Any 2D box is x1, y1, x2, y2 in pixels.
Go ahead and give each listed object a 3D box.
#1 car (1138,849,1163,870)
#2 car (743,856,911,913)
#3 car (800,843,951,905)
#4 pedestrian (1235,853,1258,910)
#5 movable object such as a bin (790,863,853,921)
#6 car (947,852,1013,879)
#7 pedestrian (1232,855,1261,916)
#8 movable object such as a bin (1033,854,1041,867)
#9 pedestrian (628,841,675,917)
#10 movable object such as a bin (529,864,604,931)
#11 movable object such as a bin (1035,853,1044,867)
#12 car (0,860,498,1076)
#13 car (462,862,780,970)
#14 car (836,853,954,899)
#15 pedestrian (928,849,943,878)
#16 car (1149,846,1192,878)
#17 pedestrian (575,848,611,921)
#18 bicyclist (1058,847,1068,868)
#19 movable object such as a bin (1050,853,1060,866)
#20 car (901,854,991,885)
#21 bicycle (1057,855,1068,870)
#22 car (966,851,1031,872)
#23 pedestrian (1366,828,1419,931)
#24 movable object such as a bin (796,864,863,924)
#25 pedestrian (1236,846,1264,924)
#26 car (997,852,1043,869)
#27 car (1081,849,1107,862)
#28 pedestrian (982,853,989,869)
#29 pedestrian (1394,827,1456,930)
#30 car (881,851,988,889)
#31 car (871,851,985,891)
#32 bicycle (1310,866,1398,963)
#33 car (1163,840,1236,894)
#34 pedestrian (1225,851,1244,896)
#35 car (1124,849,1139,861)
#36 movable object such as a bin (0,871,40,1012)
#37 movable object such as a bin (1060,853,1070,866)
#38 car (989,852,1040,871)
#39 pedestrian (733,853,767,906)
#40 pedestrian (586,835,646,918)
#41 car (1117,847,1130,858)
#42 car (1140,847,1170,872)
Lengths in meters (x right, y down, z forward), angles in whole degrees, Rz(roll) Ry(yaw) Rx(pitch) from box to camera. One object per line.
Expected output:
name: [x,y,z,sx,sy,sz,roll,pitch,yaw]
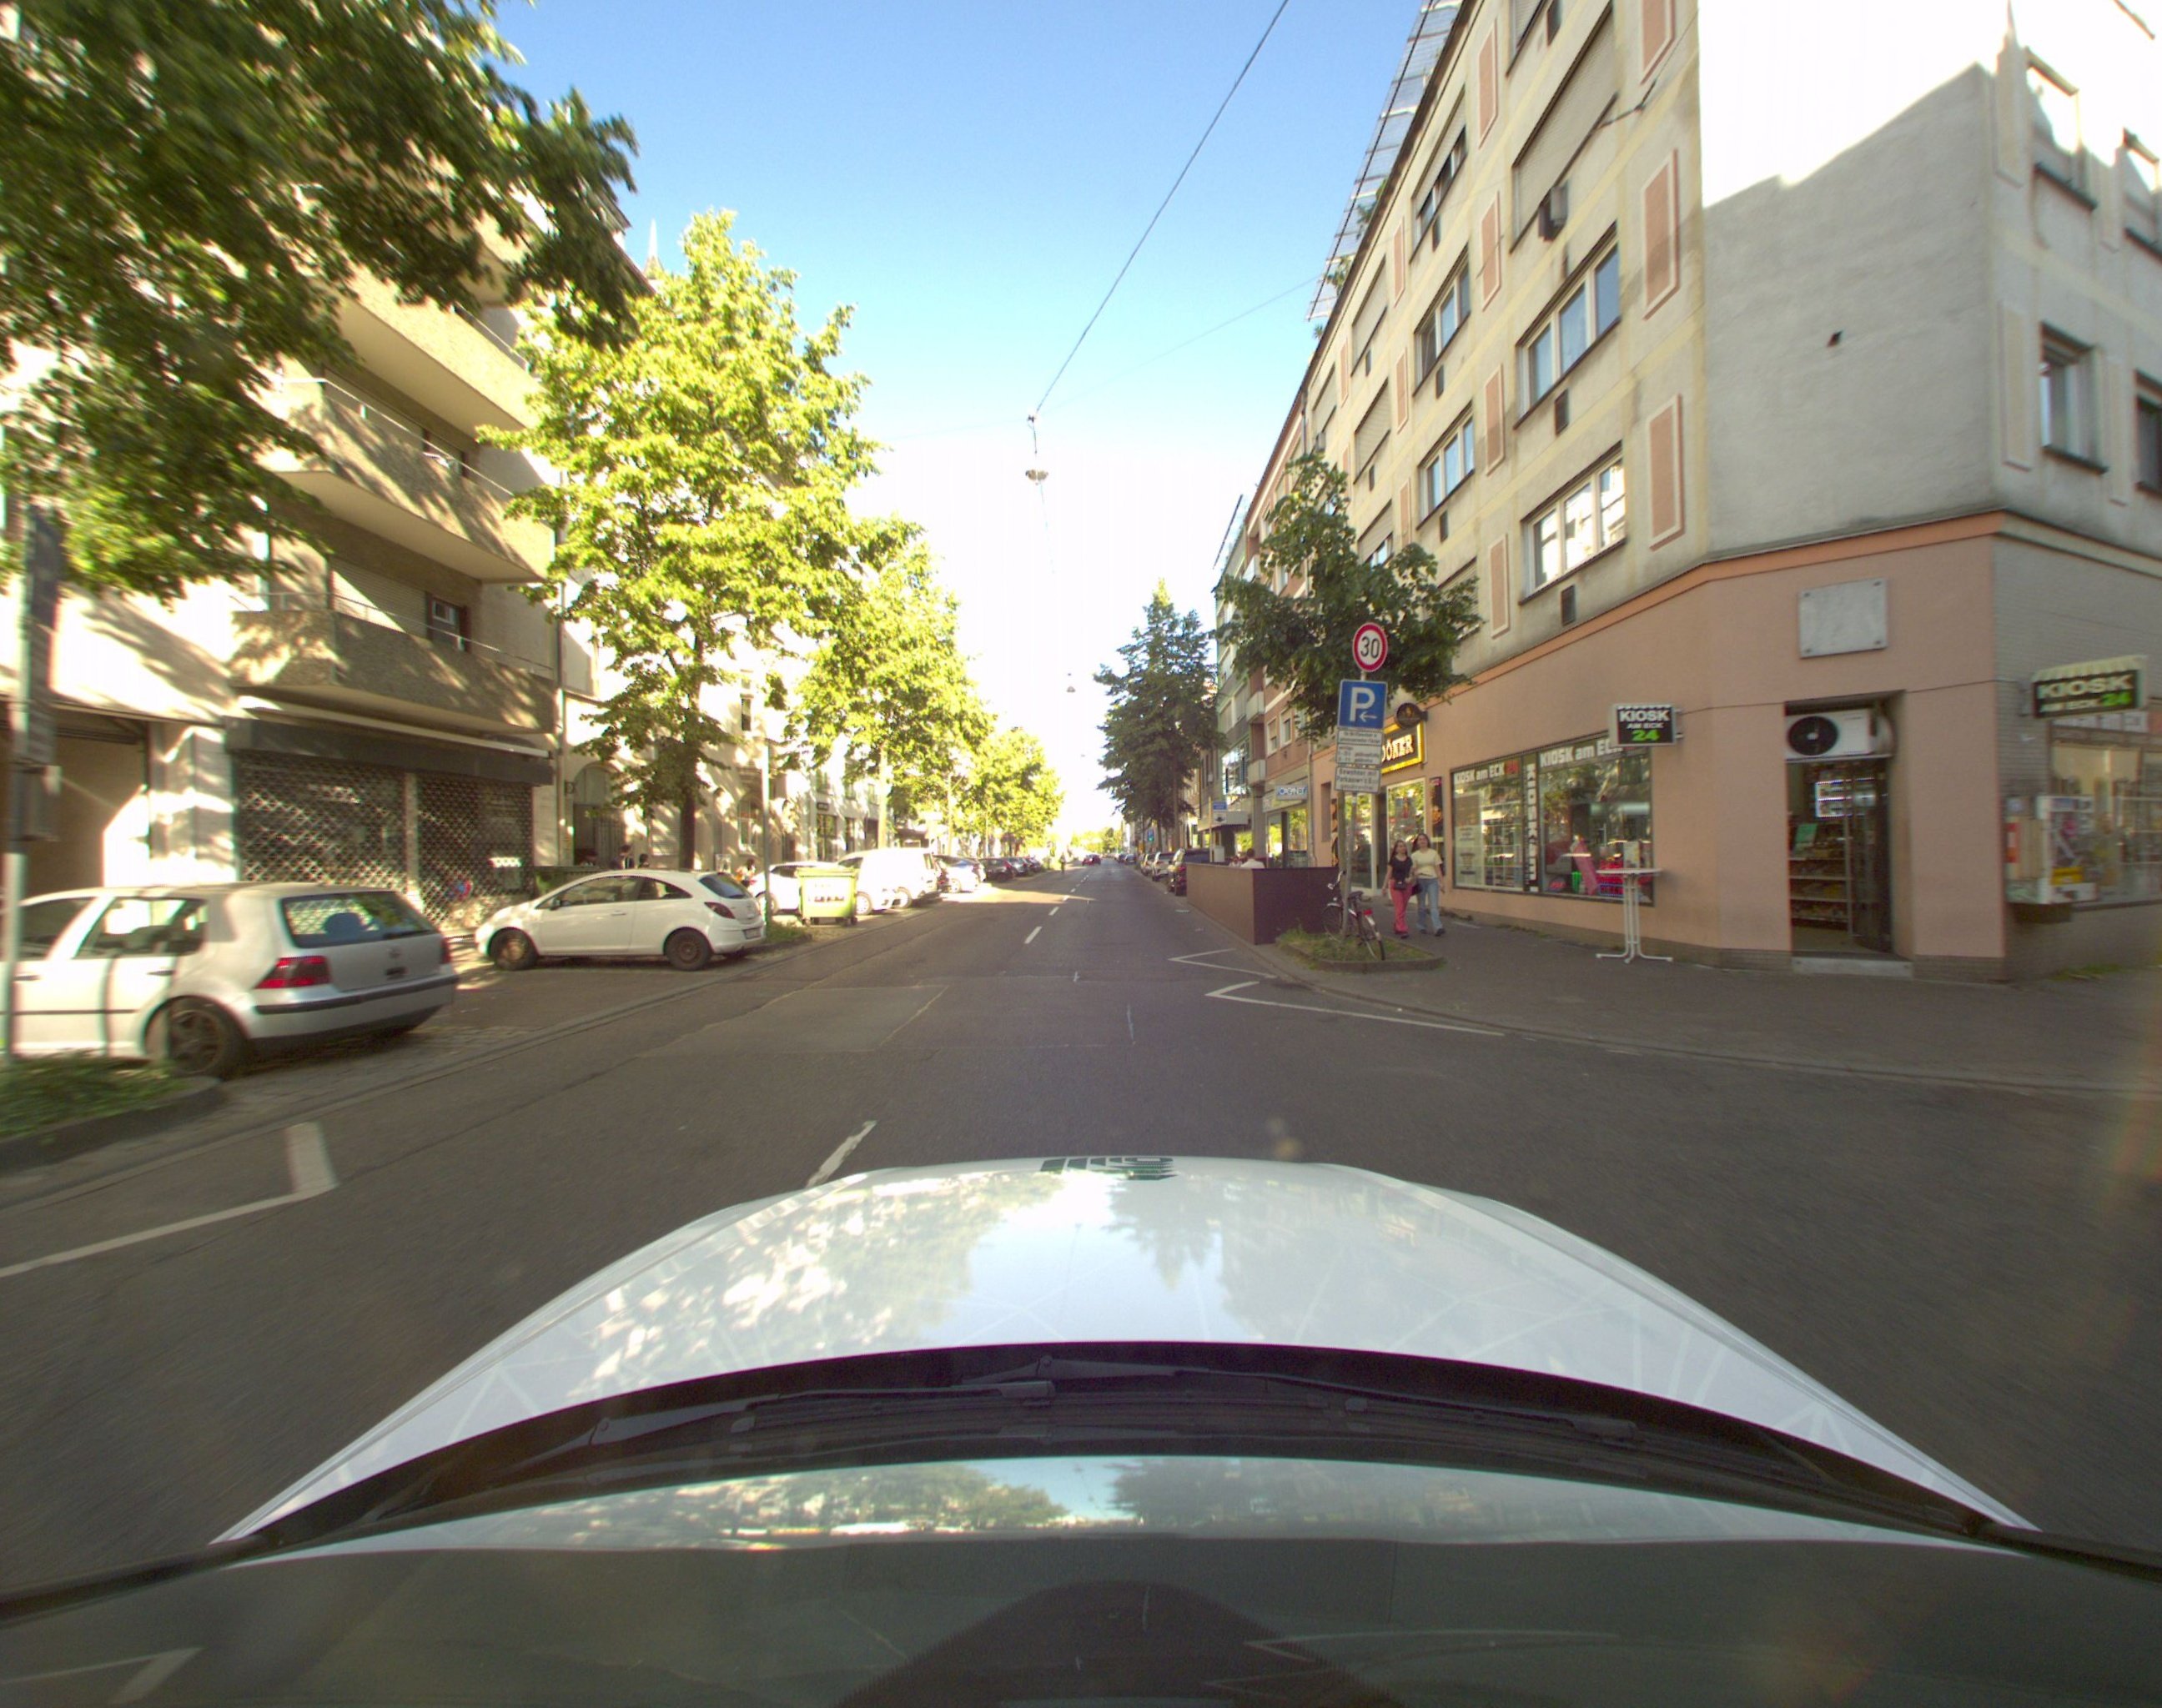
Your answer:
car: [5.236,0.407,61.780,1.608,1.528,3.061,-3,0,1]
car: [-6.889,0.805,22.379,3.964,1.464,1.888,0,0,2]
car: [-6.270,0.594,25.184,4.090,1.836,2.039,0,0,2]
pedestrian: [4.015,0.667,19.795,0.471,1.362,0.595,0,0,2]
movable object such as a bin: [-6.257,0.902,19.713,1.188,1.345,0.932,-1,0,0]
car: [-5.908,0.669,47.958,3.775,1.458,1.777,-1,0,-6]
pedestrian: [3.817,0.725,18.811,0.550,1.379,0.595,0,0,2]
movable object such as a bin: [-4.613,0.713,85.635,0.752,1.341,0.805,-2,0,0]
pedestrian: [-9.490,0.539,18.002,0.563,1.626,0.727,3,0,0]
movable object such as a bin: [-11.271,0.927,17.885,0.818,1.397,1.228,0,0,4]
movable object such as a bin: [-4.736,0.687,92.525,0.960,1.471,1.143,-1,0,0]
car: [-7.323,0.797,6.534,3.983,1.464,1.749,1,-1,1]
car: [-6.745,0.870,12.258,3.767,1.464,1.709,0,0,-2]
car: [-6.665,0.778,29.405,3.785,1.558,1.792,-1,0,2]
pedestrian: [-9.413,0.611,52.717,0.694,1.797,0.748,-1,0,13]
car: [4.733,0.402,43.566,1.876,1.527,4.235,-3,0,1]
pedestrian: [-11.386,0.700,19.005,0.431,1.672,0.639,0,0,4]
bicyclist: [-1.494,0.303,66.593,0.722,1.700,1.283,-1,0,2]
movable object such as a bin: [-2.989,0.622,92.481,1.038,1.471,1.143,-2,0,0]
car: [-6.804,0.755,41.270,4.234,1.458,1.979,-1,0,-2]
bicycle: [-1.481,0.720,66.683,0.722,1.169,2.198,-1,0,2]
car: [-5.899,0.537,58.788,4.478,1.458,1.790,0,0,0]
pedestrian: [5.138,0.406,13.462,0.512,1.645,0.748,-3,0,1]
movable object such as a bin: [-5.767,0.909,18.750,1.233,1.302,0.870,-1,0,0]
pedestrian: [3.372,0.618,16.264,0.471,1.529,0.462,0,0,2]
car: [-5.269,0.567,70.530,3.734,1.468,1.740,0,0,1]
car: [1.800,0.181,112.225,1.642,1.535,3.785,-3,0,37]
pedestrian: [-8.945,0.649,76.193,0.505,1.408,0.826,0,1,6]
pedestrian: [5.710,0.397,13.559,0.639,1.645,0.748,-3,0,0]
car: [-6.534,0.692,36.591,4.350,1.570,1.981,-1,0,2]
car: [-6.368,0.698,34.215,4.350,1.570,1.947,-1,0,2]
bicycle: [3.704,0.770,11.233,0.505,1.163,2.145,-2,0,1]
car: [4.238,0.437,29.770,1.986,1.689,4.517,-4,0,1]
pedestrian: [4.642,0.582,24.600,0.469,1.331,0.485,-1,0,19]
car: [6.889,0.142,111.742,1.910,1.478,4.967,-5,0,2]
movable object such as a bin: [-11.449,0.900,7.835,1.073,1.415,1.353,-2,0,2]
movable object such as a bin: [-1.850,0.647,92.564,1.038,1.471,1.452,-2,0,0]
car: [-5.327,0.590,65.488,3.903,1.485,1.772,0,0,3]
pedestrian: [-9.701,0.741,23.909,0.590,1.494,0.843,1,0,3]
pedestrian: [-10.257,0.488,17.994,0.772,1.766,0.763,3,0,-1]
car: [6.887,-0.288,131.367,1.966,1.725,4.826,0,0,2]
car: [5.053,0.374,55.939,1.608,1.528,4.235,-4,0,1]
